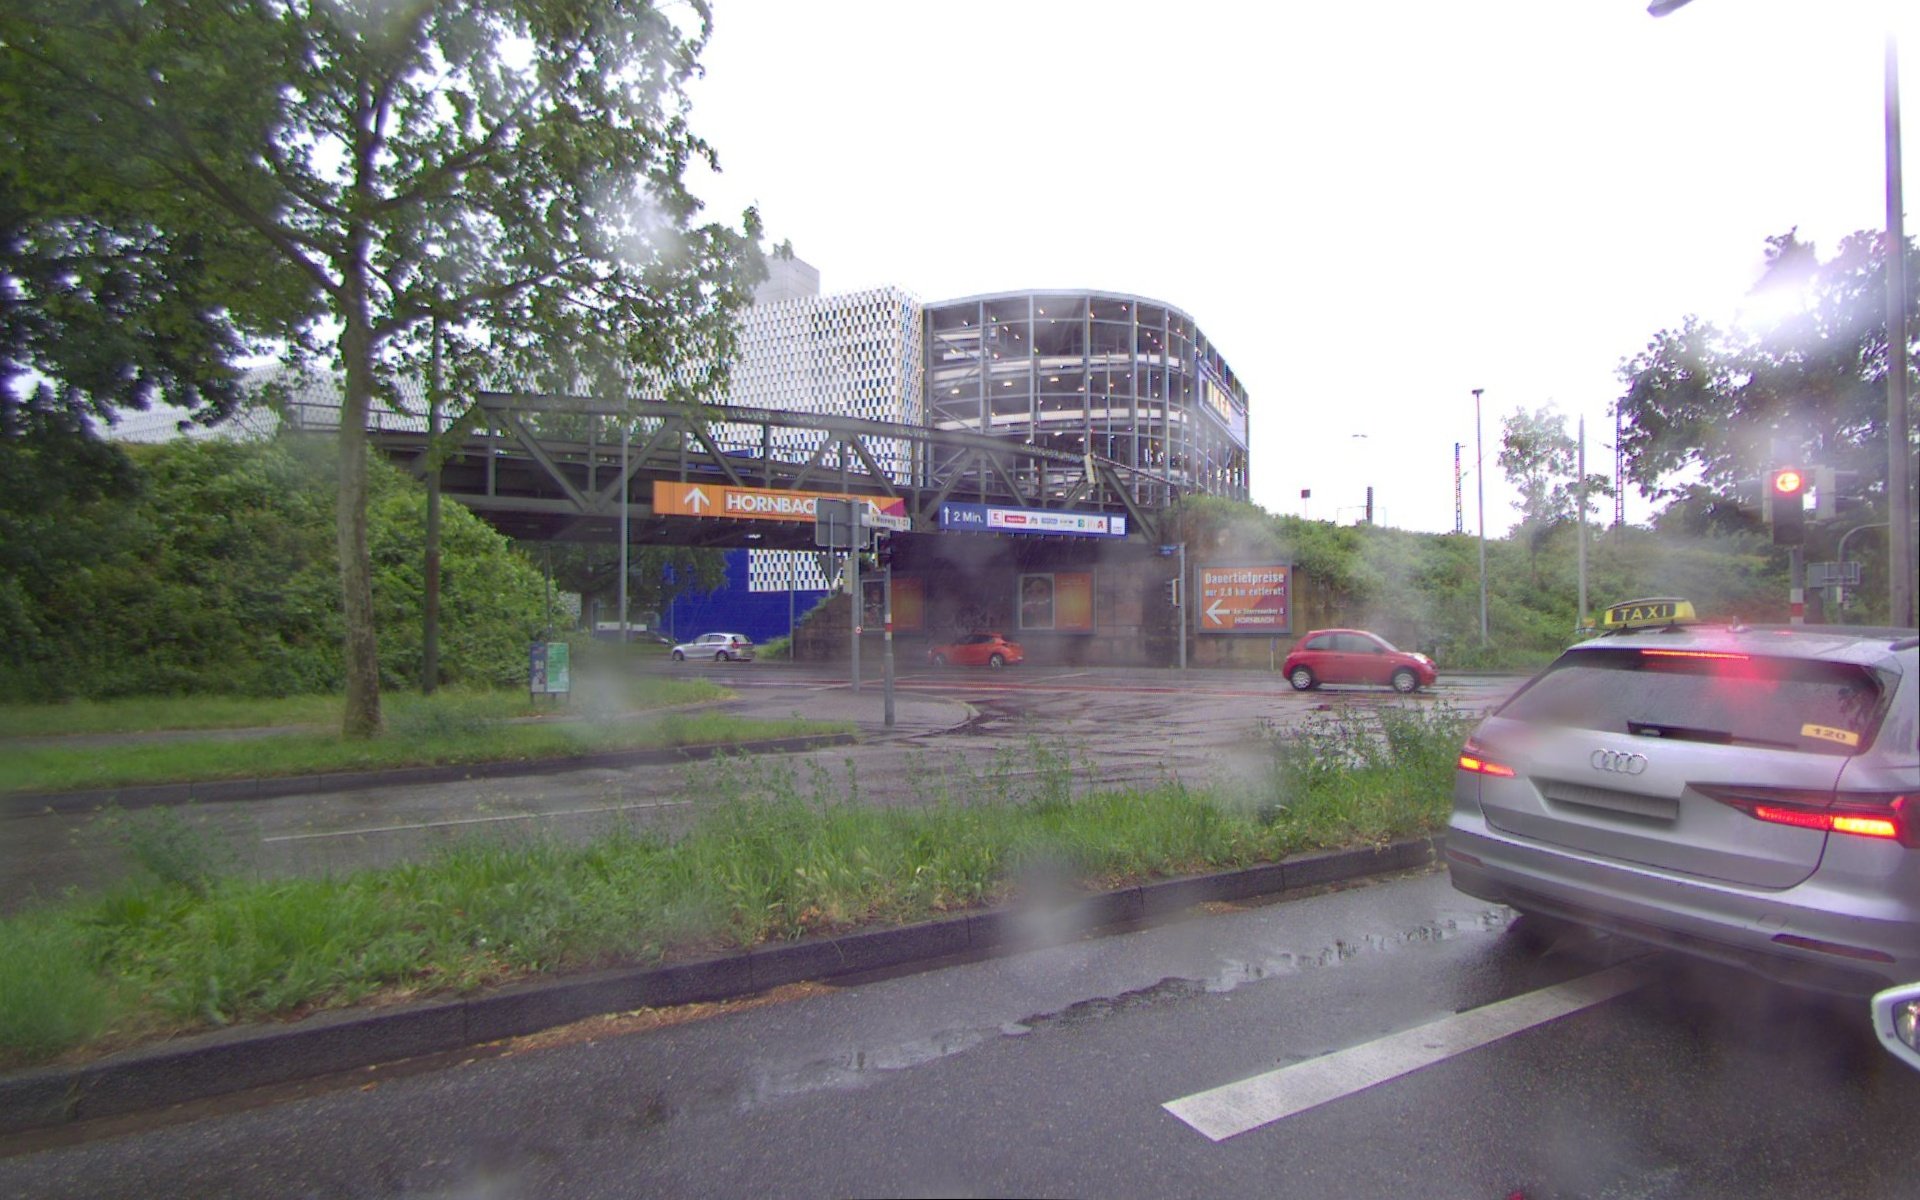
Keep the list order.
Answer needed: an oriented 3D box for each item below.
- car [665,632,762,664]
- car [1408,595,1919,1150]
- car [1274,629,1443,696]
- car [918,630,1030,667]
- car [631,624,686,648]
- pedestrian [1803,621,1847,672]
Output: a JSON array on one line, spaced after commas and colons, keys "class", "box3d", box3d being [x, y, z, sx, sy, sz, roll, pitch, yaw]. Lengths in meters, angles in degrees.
[{"class": "car", "box3d": [-11.349, 2.203, 46.195, 4.131, 1.392, 1.746, 0, -2, 24]}, {"class": "car", "box3d": [4.425, 0.819, 4.816, 4.766, 1.595, 1.760, 1, 0, -31]}, {"class": "car", "box3d": [10.000, 1.514, 25.236, 3.748, 1.510, 1.675, 0, -1, 30]}, {"class": "car", "box3d": [0.557, 1.931, 40.382, 4.131, 1.392, 1.746, 0, -2, 24]}, {"class": "car", "box3d": [-23.414, 2.795, 78.059, 3.924, 1.776, 1.790, -1, -2, 25]}, {"class": "pedestrian", "box3d": [32.369, 1.737, 37.587, 1.122, 1.871, 1.092, 2, -2, -41]}]
